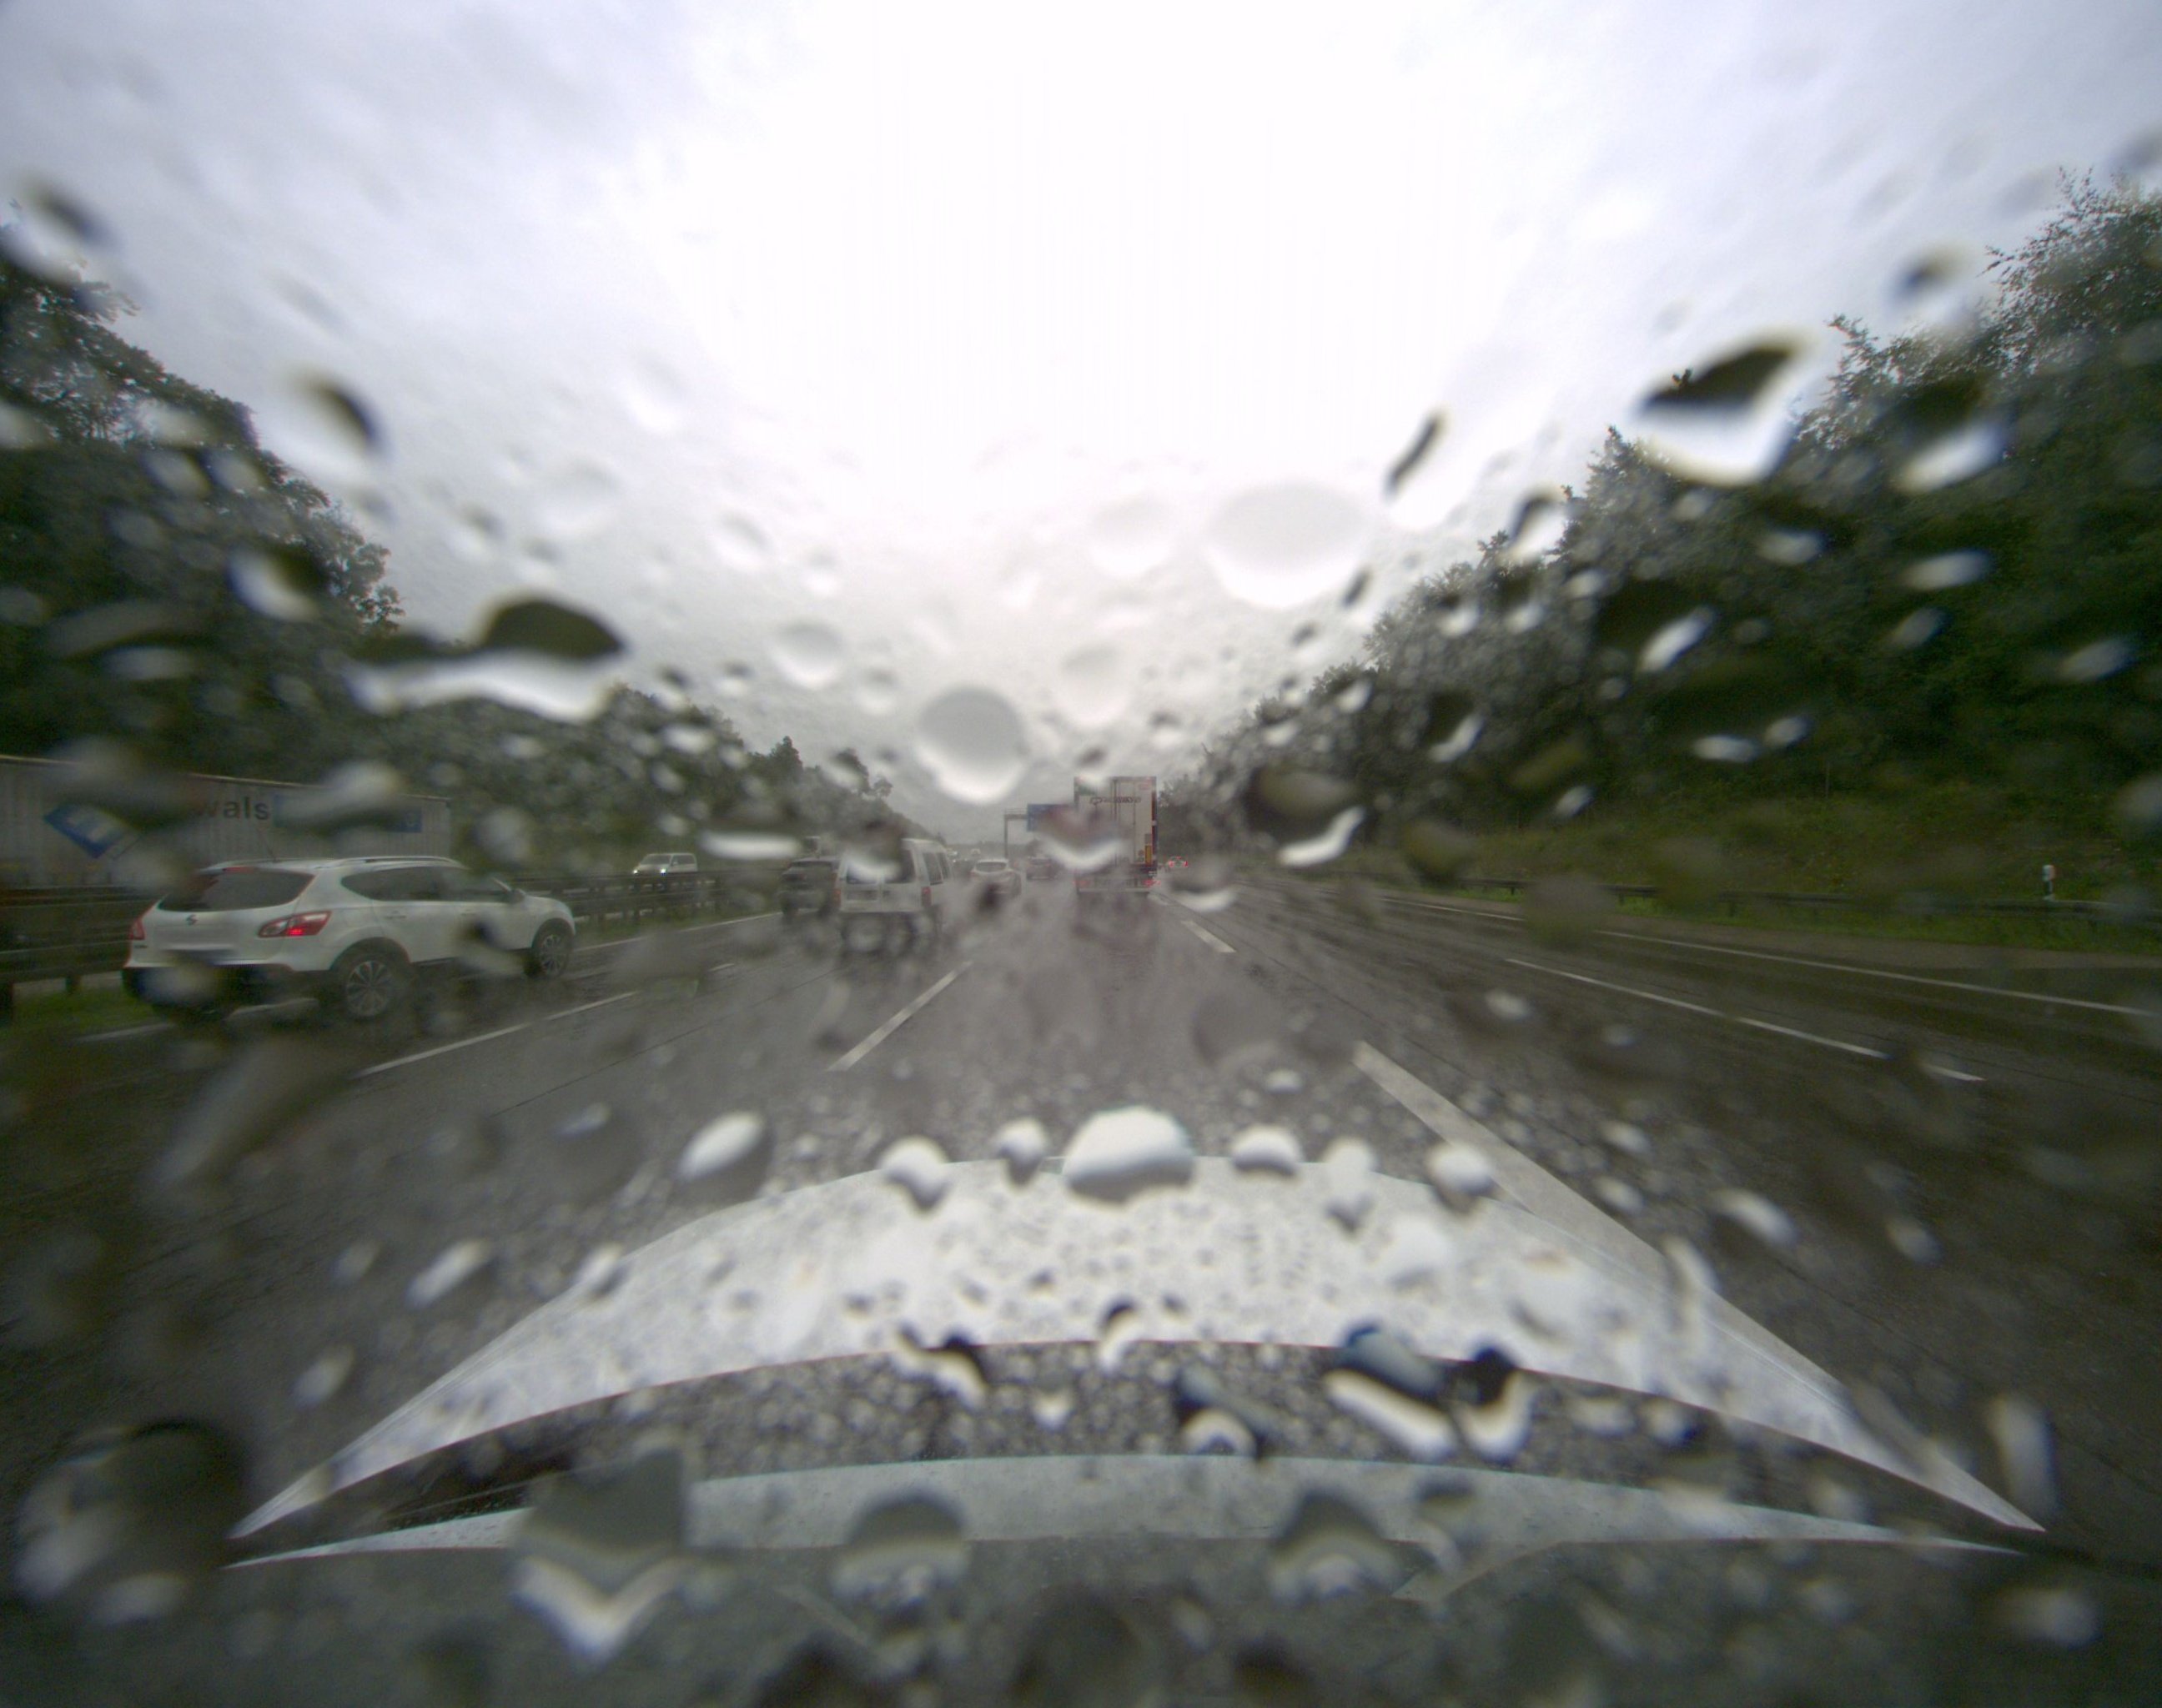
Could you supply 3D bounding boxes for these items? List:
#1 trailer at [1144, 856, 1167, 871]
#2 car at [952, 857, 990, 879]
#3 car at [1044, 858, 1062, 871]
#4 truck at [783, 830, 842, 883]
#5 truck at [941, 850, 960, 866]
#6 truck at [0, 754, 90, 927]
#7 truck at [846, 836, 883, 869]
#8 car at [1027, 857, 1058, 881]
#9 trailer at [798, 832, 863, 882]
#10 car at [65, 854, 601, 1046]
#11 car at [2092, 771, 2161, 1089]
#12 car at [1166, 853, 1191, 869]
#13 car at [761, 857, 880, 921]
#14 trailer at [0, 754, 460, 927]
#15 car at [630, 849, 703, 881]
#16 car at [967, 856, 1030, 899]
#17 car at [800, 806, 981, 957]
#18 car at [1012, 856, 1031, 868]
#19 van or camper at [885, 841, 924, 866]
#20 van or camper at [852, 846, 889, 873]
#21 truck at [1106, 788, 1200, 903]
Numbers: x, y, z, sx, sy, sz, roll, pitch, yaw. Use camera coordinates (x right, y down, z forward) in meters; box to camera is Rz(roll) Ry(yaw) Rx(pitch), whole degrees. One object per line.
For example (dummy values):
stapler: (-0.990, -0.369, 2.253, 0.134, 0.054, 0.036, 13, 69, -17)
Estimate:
trailer: (8.640, 1.076, 94.946, 2.236, 1.714, 5.081, 0, 0, 0)
car: (-7.232, 0.889, 53.728, 1.839, 1.330, 4.466, 0, 0, 0)
car: (-3.200, 1.214, 94.059, 1.839, 1.330, 4.466, 0, 0, 0)
truck: (-21.477, 0.192, 65.439, 2.368, 3.954, 6.538, -2, 0, 1)
truck: (-29.166, 0.960, 182.451, 2.512, 3.483, 11.711, 0, 0, -2)
truck: (-26.160, -0.270, 17.875, 2.694, 3.954, 4.892, -2, 0, 1)
truck: (-26.133, -0.208, 98.600, 2.695, 3.818, 6.264, -1, 0, 0)
car: (-2.610, 0.995, 56.212, 1.839, 1.591, 4.468, 0, 0, 2)
trailer: (-21.380, 0.251, 70.109, 2.368, 3.954, 9.424, -2, 0, 1)
car: (-7.681, 0.817, 9.159, 1.839, 1.591, 4.467, 0, 0, 1)
car: (7.485, 0.462, 2.869, 1.983, 1.921, 4.768, 0, 0, 1)
car: (8.829, 0.609, 73.822, 1.784, 1.407, 4.228, 0, 0, 0)
car: (-7.288, 0.914, 23.267, 1.839, 1.591, 4.468, 0, 0, 1)
trailer: (-26.006, -0.248, 25.079, 2.710, 3.954, 13.963, -2, 0, 1)
car: (-24.476, 0.611, 48.310, 1.990, 1.770, 5.032, -2, 0, -4)
car: (-3.278, 0.895, 32.942, 1.837, 1.591, 4.076, 0, 0, 4)
car: (-3.575, 0.460, 16.428, 2.204, 2.573, 5.019, 0, 0, 3)
car: (-6.961, 0.935, 95.982, 1.839, 1.330, 4.466, 0, 0, 0)
van or camper: (-21.895, -0.033, 101.630, 2.832, 2.978, 8.787, 0, 0, 1)
van or camper: (-21.834, 0.533, 84.640, 2.191, 2.547, 6.118, -2, 0, 0)
truck: (2.544, -0.226, 30.895, 2.860, 3.562, 11.310, 0, 0, 3)
